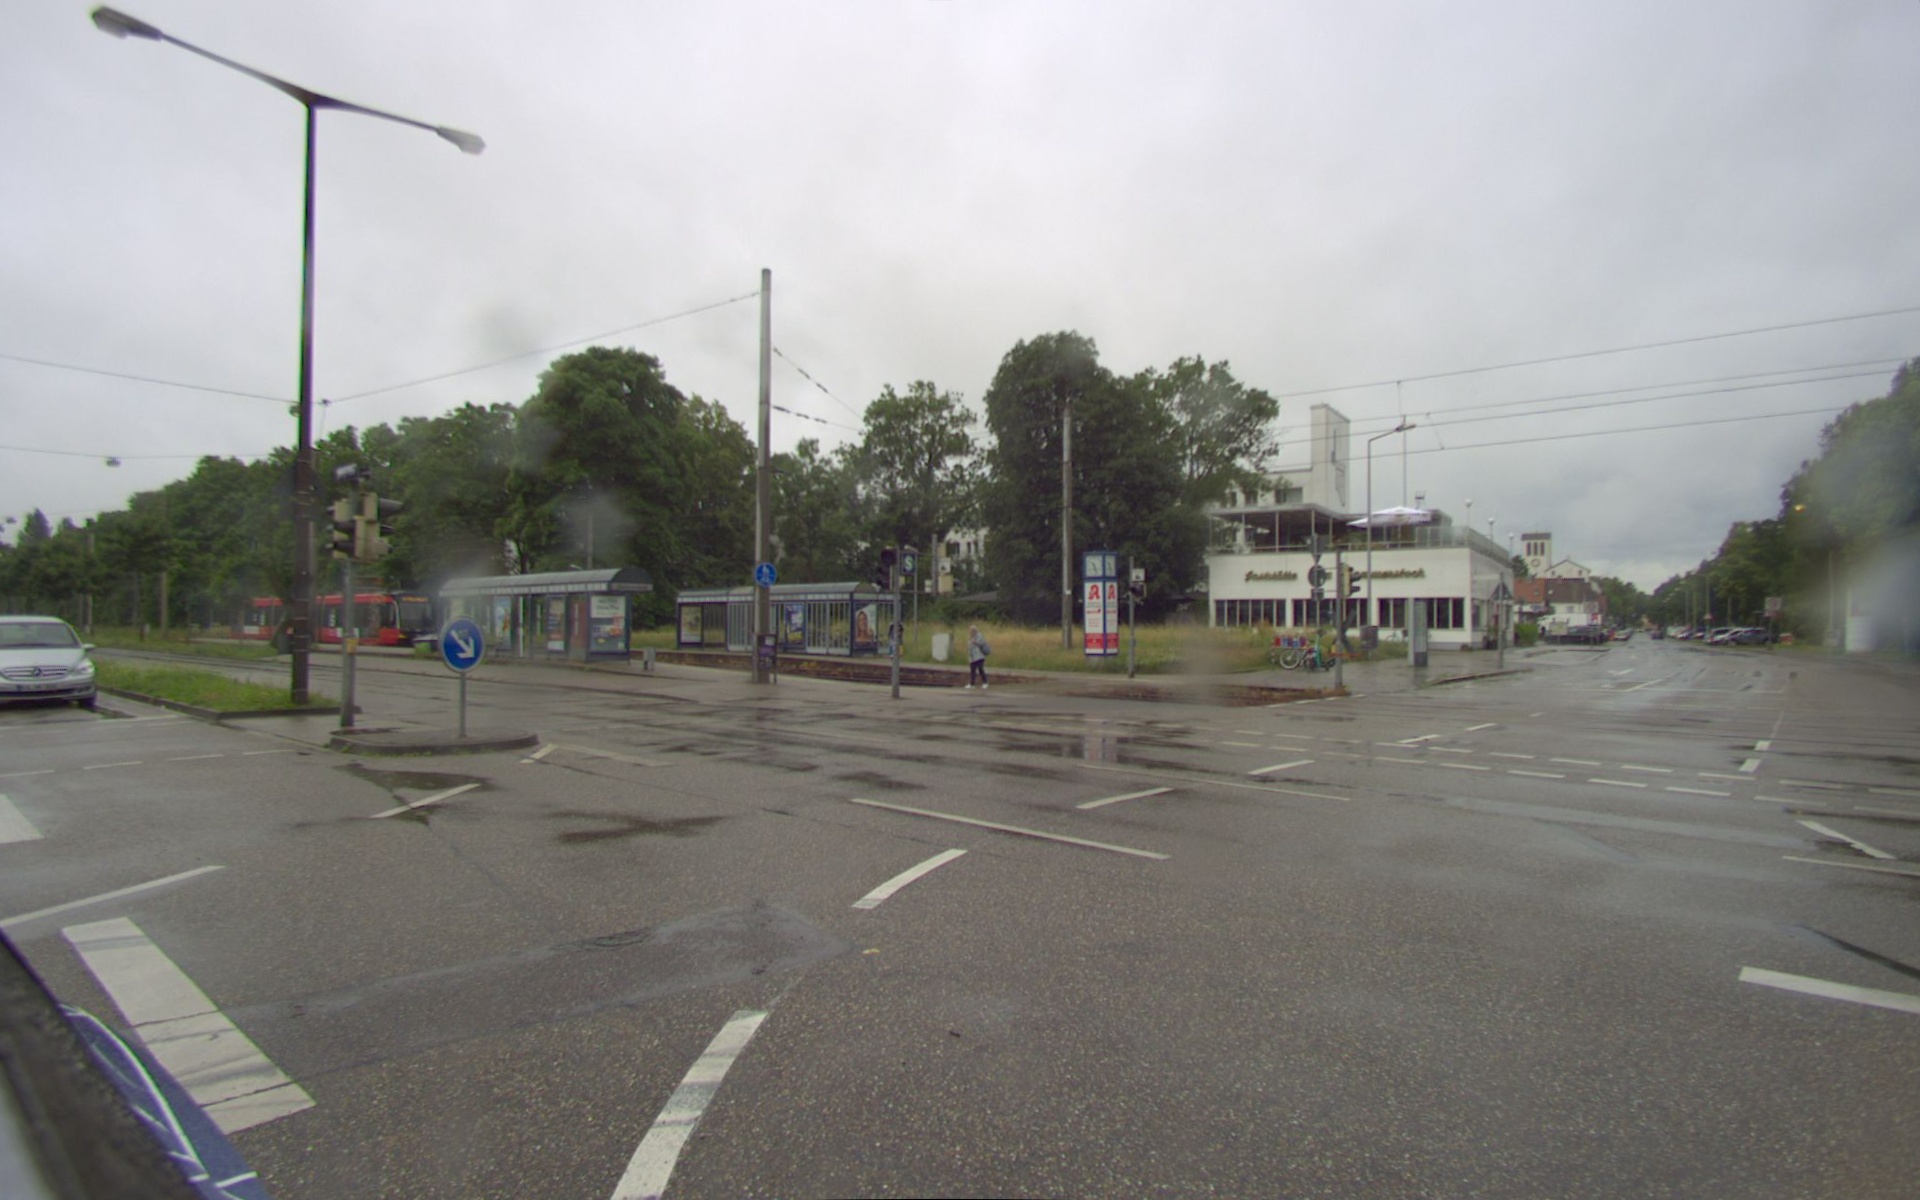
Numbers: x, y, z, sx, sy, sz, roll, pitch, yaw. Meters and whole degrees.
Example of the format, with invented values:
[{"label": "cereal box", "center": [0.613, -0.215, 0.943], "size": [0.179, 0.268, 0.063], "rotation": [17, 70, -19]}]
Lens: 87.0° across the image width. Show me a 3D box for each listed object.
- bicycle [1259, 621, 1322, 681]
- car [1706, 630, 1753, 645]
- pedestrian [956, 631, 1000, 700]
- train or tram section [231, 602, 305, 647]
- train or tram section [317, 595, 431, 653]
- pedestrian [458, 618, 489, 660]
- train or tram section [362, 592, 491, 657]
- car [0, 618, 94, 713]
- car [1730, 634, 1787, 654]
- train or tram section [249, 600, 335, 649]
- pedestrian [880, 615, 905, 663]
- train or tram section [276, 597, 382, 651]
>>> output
[{"label": "bicycle", "center": [10.069, 1.536, 30.871], "size": [1.734, 1.774, 0.633], "rotation": [-2, -2, 43]}, {"label": "car", "center": [82.157, 4.009, 108.033], "size": [3.996, 1.508, 1.678], "rotation": [-1, 0, 39]}, {"label": "pedestrian", "center": [0.458, 1.654, 25.815], "size": [0.792, 1.670, 0.784], "rotation": [-1, 0, -43]}, {"label": "train or tram section", "center": [-54.487, 1.930, 79.643], "size": [5.768, 3.444, 3.495], "rotation": [-1, -2, 42]}, {"label": "train or tram section", "center": [-36.784, 1.514, 63.383], "size": [9.276, 3.416, 3.495], "rotation": [-1, -2, 42]}, {"label": "pedestrian", "center": [-18.754, 1.497, 38.984], "size": [0.929, 1.609, 0.795], "rotation": [-1, -2, 45]}, {"label": "train or tram section", "center": [-30.467, 1.381, 57.584], "size": [9.276, 3.415, 3.495], "rotation": [-1, -2, 42]}, {"label": "car", "center": [-17.086, 1.136, 18.283], "size": [4.012, 1.556, 1.717], "rotation": [-2, -2, 43]}, {"label": "car", "center": [73.505, 4.023, 93.252], "size": [3.991, 1.717, 1.853], "rotation": [-1, 0, 35]}, {"label": "train or tram section", "center": [-49.760, 1.820, 75.319], "size": [7.901, 3.438, 3.495], "rotation": [-1, -2, 42]}, {"label": "pedestrian", "center": [-2.600, 1.479, 38.924], "size": [0.680, 1.806, 0.623], "rotation": [-1, 0, 41]}, {"label": "train or tram section", "center": [-43.428, 1.657, 69.479], "size": [10.259, 3.427, 3.495], "rotation": [-1, -2, 42]}]
